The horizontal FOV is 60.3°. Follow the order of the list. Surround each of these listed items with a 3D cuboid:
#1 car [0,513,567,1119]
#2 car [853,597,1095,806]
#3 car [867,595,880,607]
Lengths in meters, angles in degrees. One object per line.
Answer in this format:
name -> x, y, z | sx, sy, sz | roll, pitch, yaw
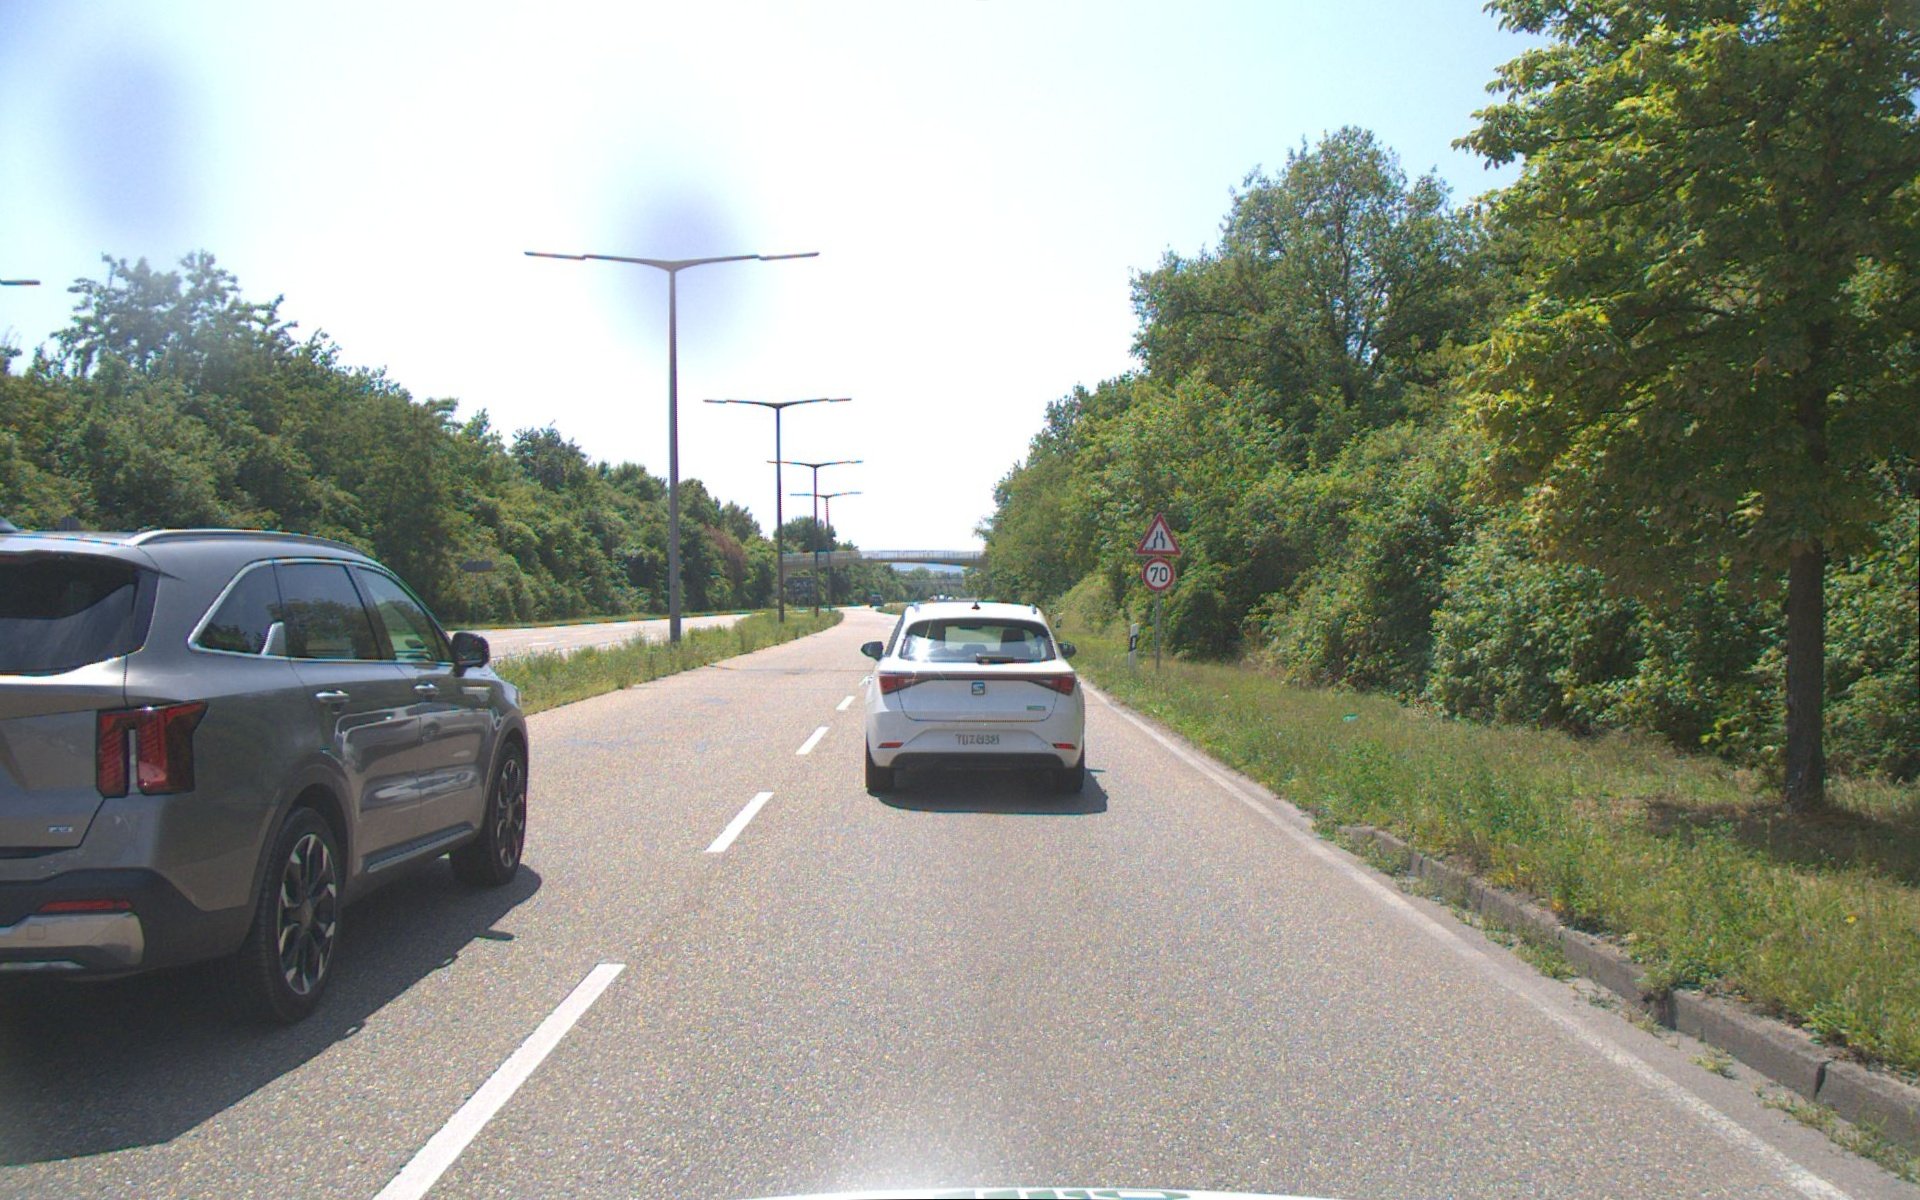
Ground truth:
car -> -3.091, 0.604, 6.945 | 1.767, 1.691, 4.644 | 0, 0, 0
car -> 0.100, 0.739, 13.658 | 1.699, 1.453, 3.694 | 1, 0, 0
car -> -12.965, 0.155, 248.299 | 1.819, 1.739, 3.995 | -1, 0, -6
